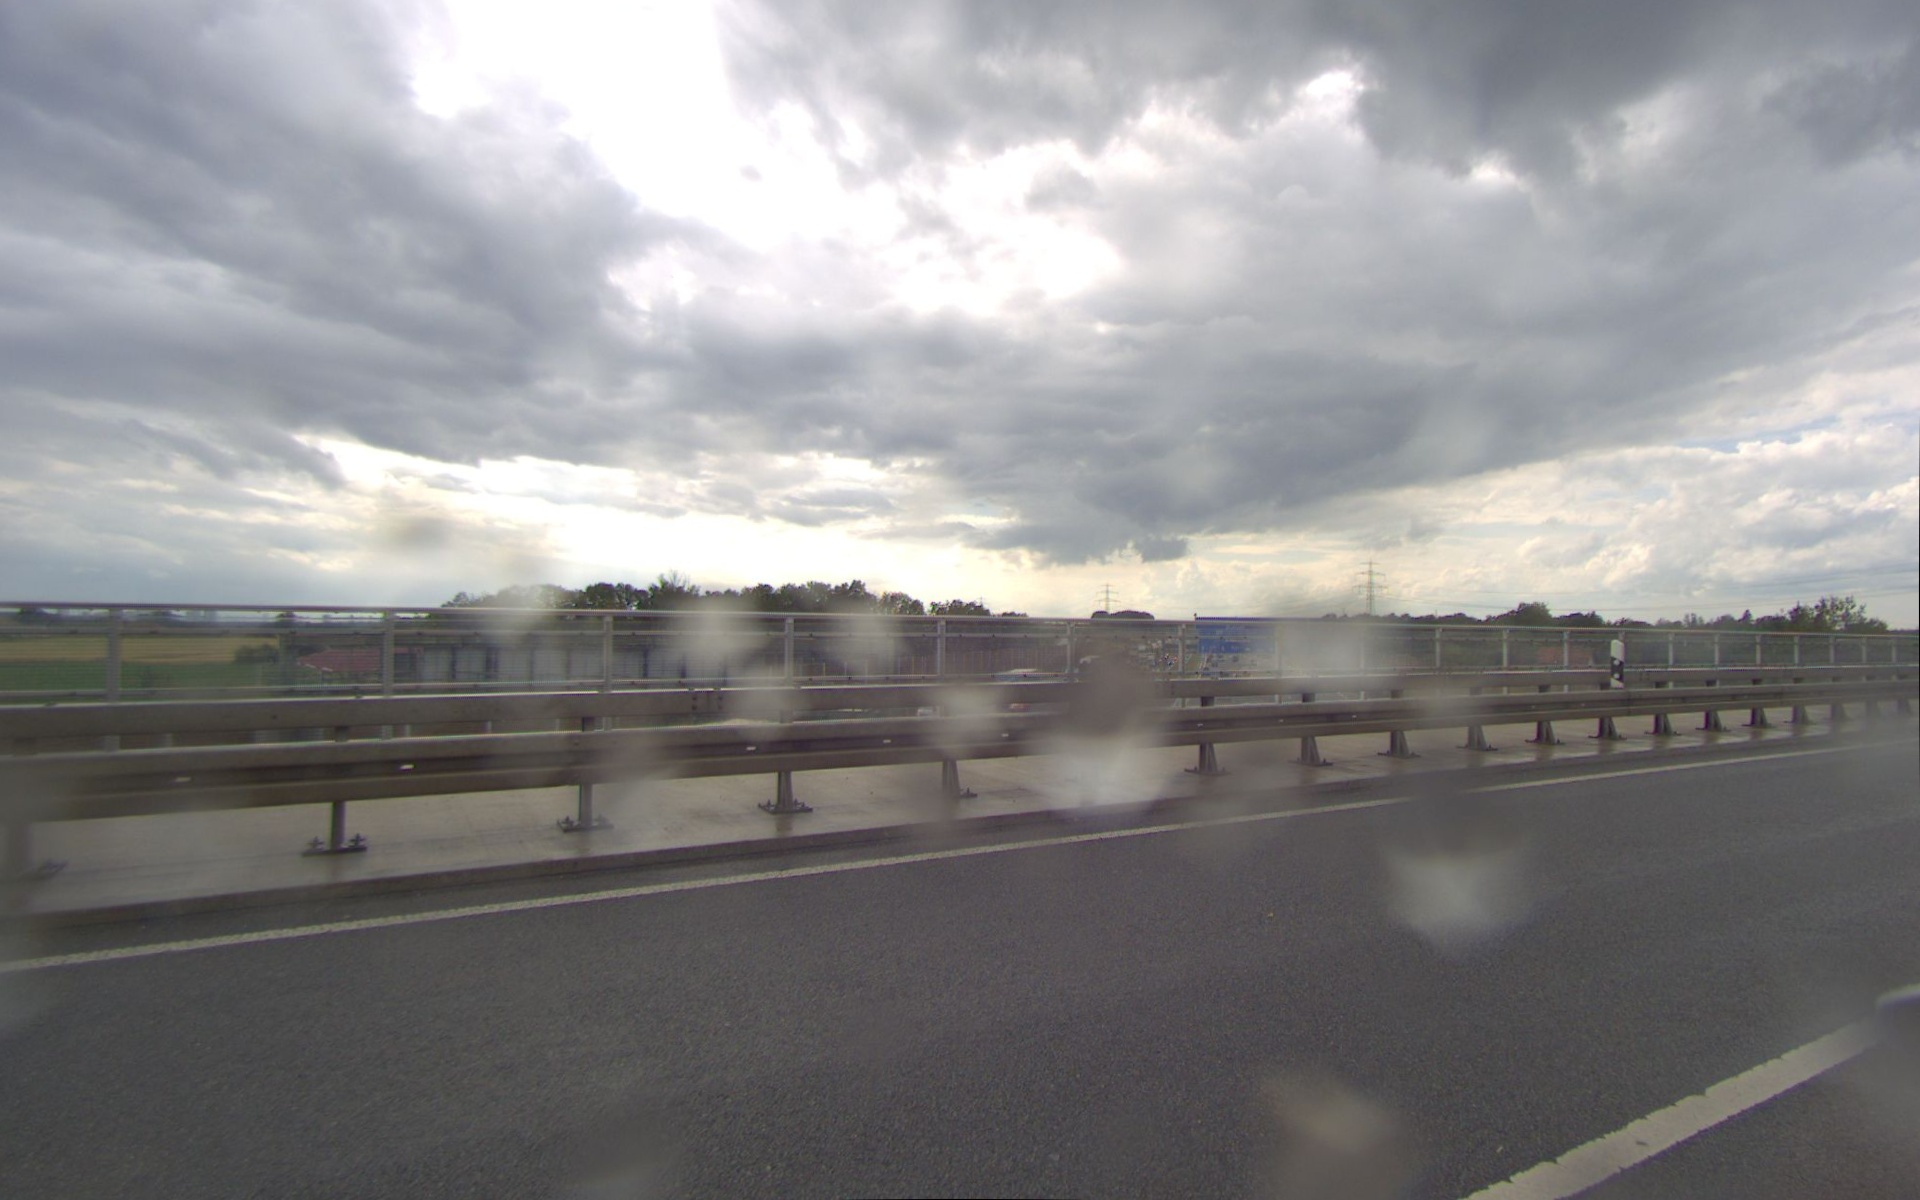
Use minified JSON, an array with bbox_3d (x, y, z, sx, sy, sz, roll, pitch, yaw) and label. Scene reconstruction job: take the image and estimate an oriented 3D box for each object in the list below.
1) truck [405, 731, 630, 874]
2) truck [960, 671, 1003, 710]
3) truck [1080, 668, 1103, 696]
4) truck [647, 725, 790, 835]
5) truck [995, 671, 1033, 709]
[{"bbox_3d":[-19.020,8.560,44.444,2.388,4.055,11.174,1,0,16],"label":"truck"},{"bbox_3d":[2.697,10.991,123.012,2.388,3.812,11.174,1,0,16],"label":"truck"},{"bbox_3d":[24.363,15.167,186.149,2.388,4.250,11.174,1,0,16],"label":"truck"},{"bbox_3d":[-13.011,9.660,55.579,2.388,4.055,11.174,1,0,16],"label":"truck"},{"bbox_3d":[6.902,11.198,126.677,2.388,3.812,11.175,1,0,15],"label":"truck"}]
